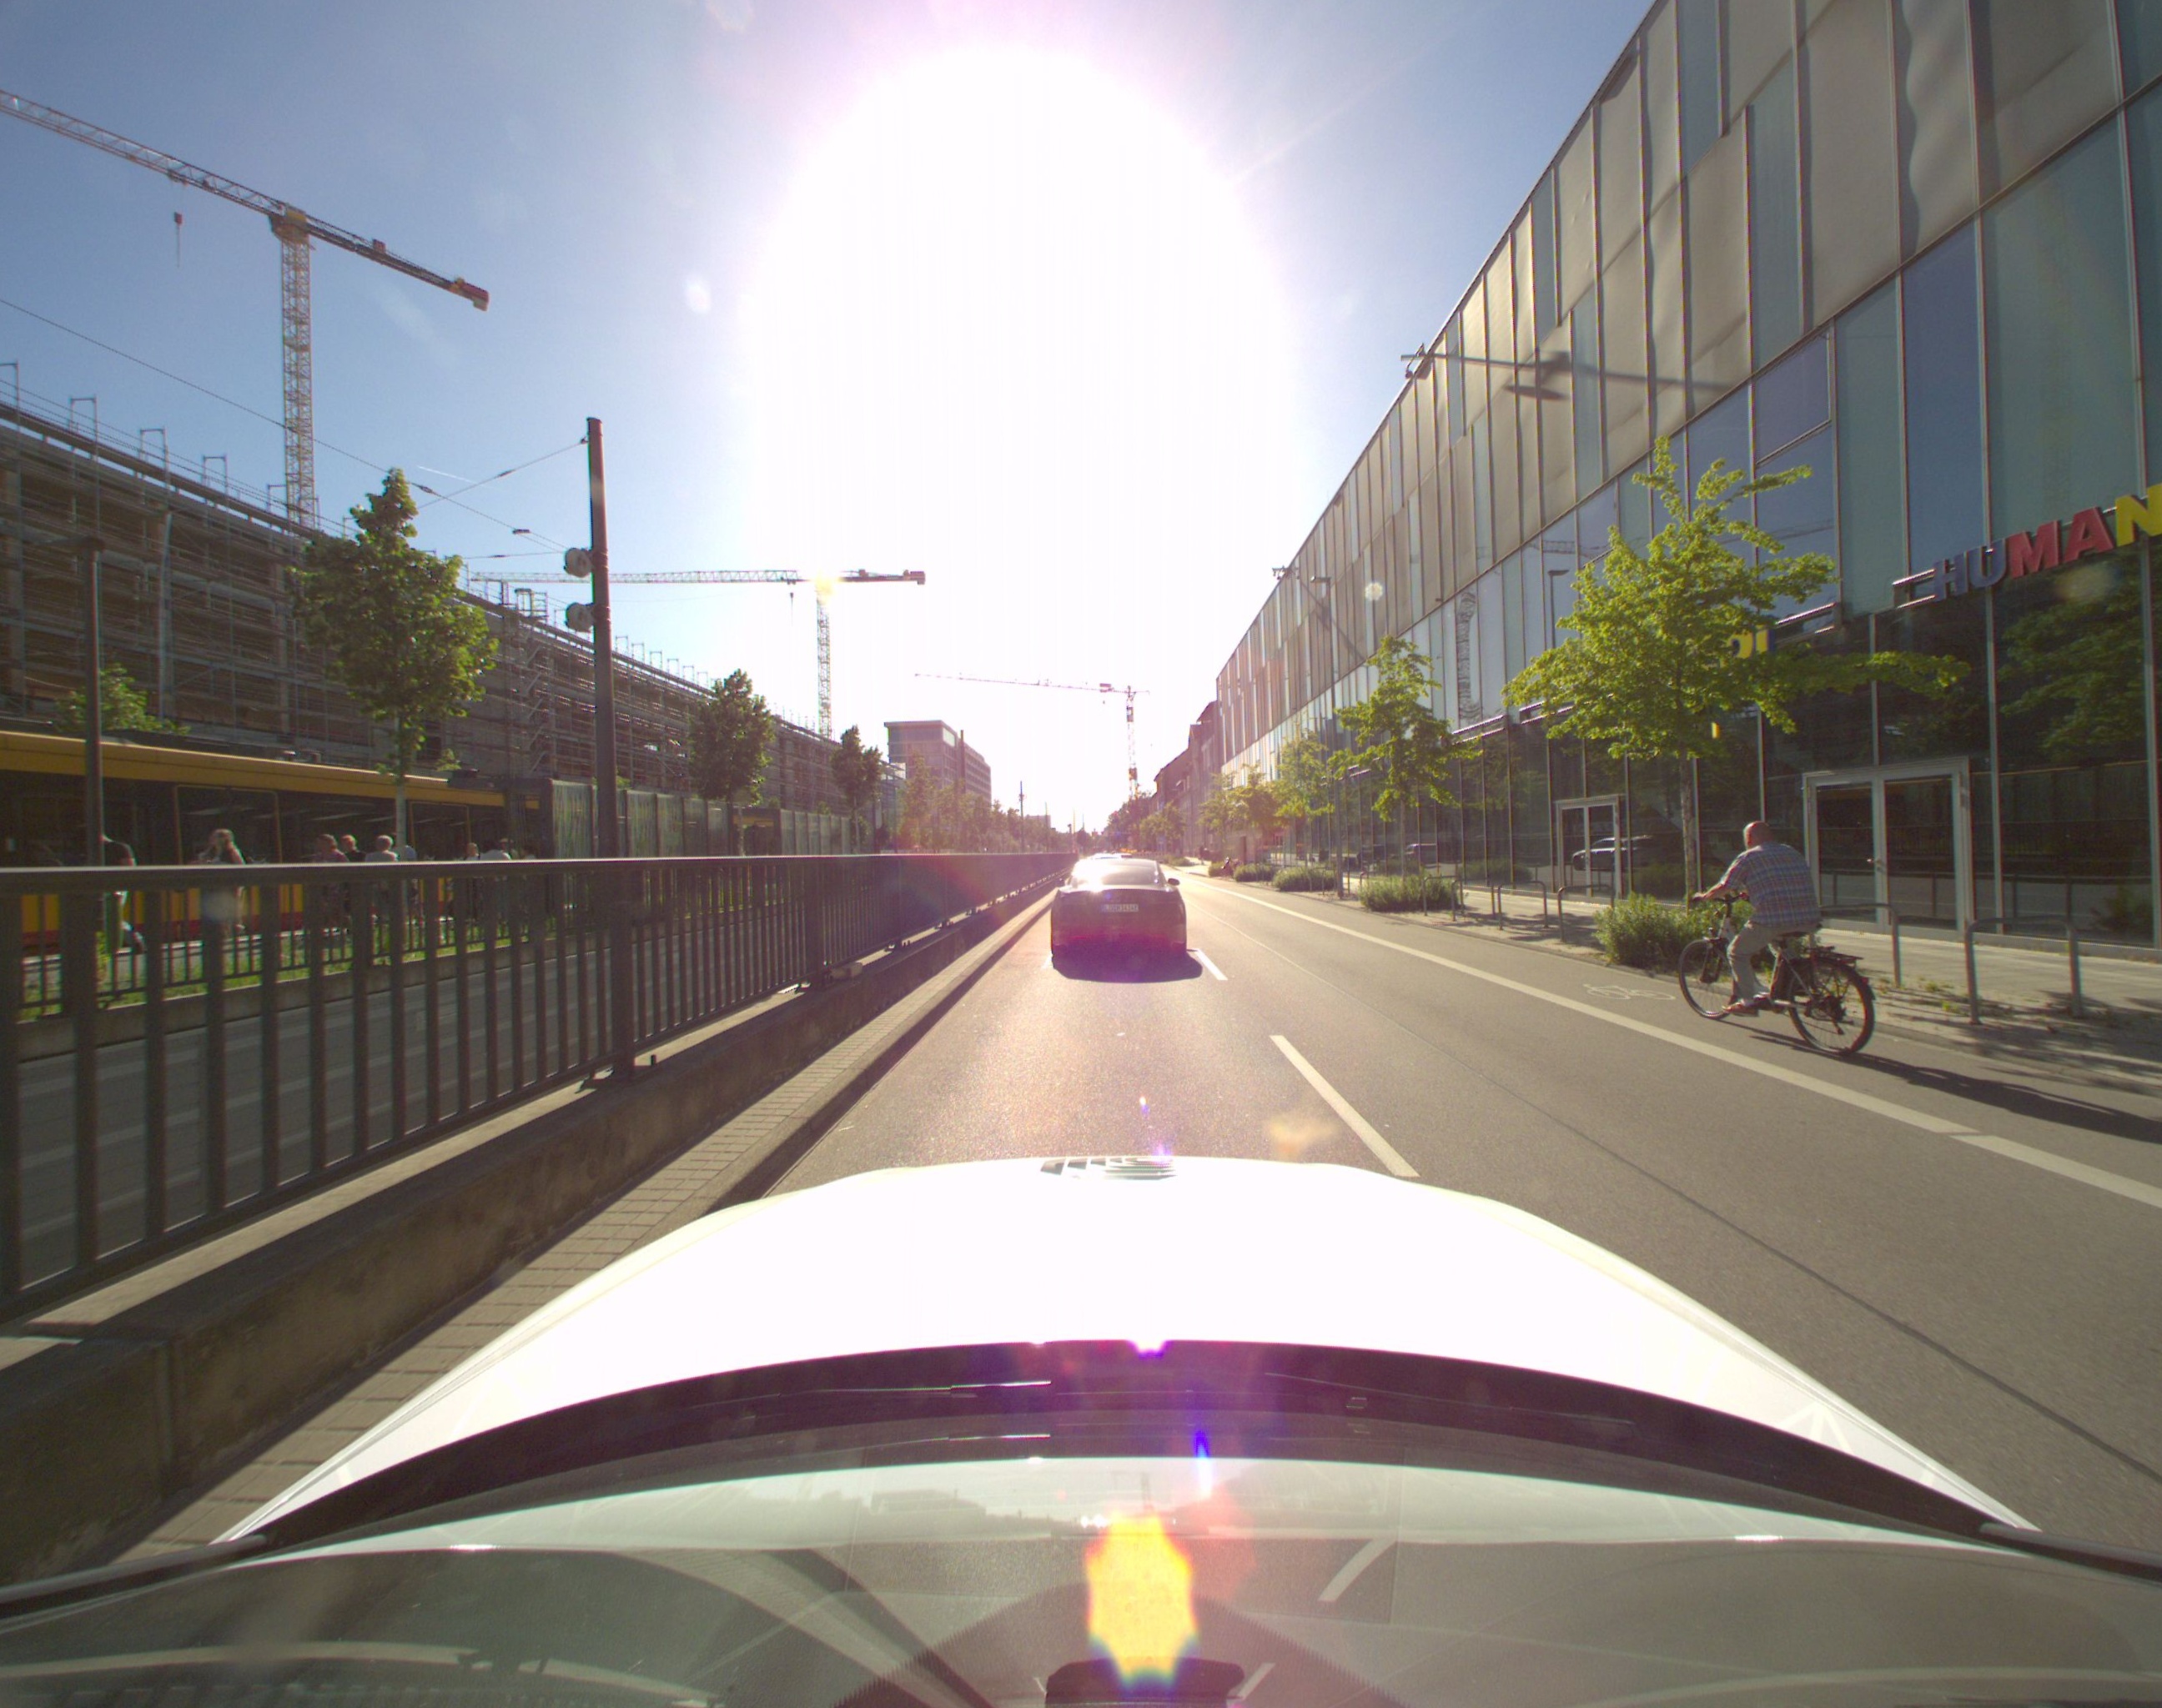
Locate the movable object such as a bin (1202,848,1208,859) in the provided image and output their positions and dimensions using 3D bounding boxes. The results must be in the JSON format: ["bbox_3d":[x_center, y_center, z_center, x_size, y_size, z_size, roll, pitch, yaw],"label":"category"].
[{"bbox_3d":[12.907,-0.067,84.773,0.556,1.169,0.563,0,0,5],"label":"movable object such as a bin"}]

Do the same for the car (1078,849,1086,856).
[{"bbox_3d":[0.210,-0.351,208.111,1.987,1.684,4.000,0,0,1],"label":"car"}]

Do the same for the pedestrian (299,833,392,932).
[{"bbox_3d":[-12.500,0.468,13.861,0.738,1.628,0.862,-2,0,3],"label":"pedestrian"}]

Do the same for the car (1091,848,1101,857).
[{"bbox_3d":[3.201,-0.332,171.487,1.806,1.809,4.042,-1,1,3],"label":"car"}]

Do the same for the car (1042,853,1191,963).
[{"bbox_3d":[0.666,0.739,13.241,1.990,1.434,4.419,-1,0,5],"label":"car"}]

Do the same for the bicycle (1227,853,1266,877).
[{"bbox_3d":[8.751,0.557,43.028,1.881,1.151,0.669,-3,0,-9],"label":"bicycle"}]

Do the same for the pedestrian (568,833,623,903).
[{"bbox_3d":[-11.680,0.327,19.615,0.738,1.628,0.862,-2,0,3],"label":"pedestrian"}]

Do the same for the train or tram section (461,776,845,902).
[{"bbox_3d":[-14.381,-0.479,32.317,2.859,3.279,22.153,0,0,2],"label":"train or tram section"}]

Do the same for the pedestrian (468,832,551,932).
[{"bbox_3d":[-9.653,0.458,13.780,0.738,1.628,0.862,-2,0,3],"label":"pedestrian"}]

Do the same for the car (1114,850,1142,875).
[{"bbox_3d":[3.191,0.539,54.787,1.777,1.546,4.042,-1,1,3],"label":"car"}]

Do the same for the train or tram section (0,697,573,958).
[{"bbox_3d":[-14.911,-0.361,13.641,2.859,3.279,15.192,0,0,2],"label":"train or tram section"}]

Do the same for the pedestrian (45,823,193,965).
[{"bbox_3d":[-11.686,0.464,9.927,0.738,1.628,0.862,-2,0,3],"label":"pedestrian"}]

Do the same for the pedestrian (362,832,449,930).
[{"bbox_3d":[-11.672,0.452,14.103,0.738,1.628,0.862,-2,0,3],"label":"pedestrian"}]

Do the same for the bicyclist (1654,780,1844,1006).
[{"bbox_3d":[5.562,0.298,6.852,0.723,1.736,0.997,-2,0,-2],"label":"bicyclist"}]

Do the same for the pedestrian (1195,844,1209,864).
[{"bbox_3d":[11.630,0.034,78.100,1.091,1.863,1.523,-2,0,0],"label":"pedestrian"}]

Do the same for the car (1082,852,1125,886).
[{"bbox_3d":[1.011,0.598,34.965,1.709,1.319,4.003,-1,1,3],"label":"car"}]

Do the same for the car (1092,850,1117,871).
[{"bbox_3d":[2.006,0.495,68.248,1.879,1.596,4.005,-2,1,5],"label":"car"}]

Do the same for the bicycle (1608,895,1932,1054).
[{"bbox_3d":[5.577,0.899,6.864,0.726,0.983,2.332,0,0,-2],"label":"bicycle"}]

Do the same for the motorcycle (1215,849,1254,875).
[{"bbox_3d":[8.981,0.463,47.666,2.054,1.353,0.656,-4,-1,24],"label":"motorcycle"}]

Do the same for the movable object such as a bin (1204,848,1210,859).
[{"bbox_3d":[12.961,-0.068,83.923,0.556,1.169,0.563,0,0,5],"label":"movable object such as a bin"}]

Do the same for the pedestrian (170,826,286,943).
[{"bbox_3d":[-12.507,0.431,11.969,0.738,1.628,0.862,-2,0,3],"label":"pedestrian"}]

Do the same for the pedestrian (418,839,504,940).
[{"bbox_3d":[-10.447,0.585,13.751,0.738,1.628,0.862,-2,0,3],"label":"pedestrian"}]

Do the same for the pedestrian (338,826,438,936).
[{"bbox_3d":[-10.650,0.402,12.543,0.738,1.628,0.862,-2,0,3],"label":"pedestrian"}]

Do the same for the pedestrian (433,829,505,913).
[{"bbox_3d":[-12.327,0.332,16.419,0.738,1.628,0.862,-2,0,3],"label":"pedestrian"}]

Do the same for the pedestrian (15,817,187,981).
[{"bbox_3d":[-10.334,0.452,8.624,0.738,1.628,0.862,-2,0,3],"label":"pedestrian"}]

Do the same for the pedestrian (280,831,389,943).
[{"bbox_3d":[-11.442,0.486,12.513,0.738,1.628,0.948,-2,0,3],"label":"pedestrian"}]

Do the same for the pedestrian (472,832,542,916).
[{"bbox_3d":[-11.546,0.389,16.411,0.738,1.628,0.862,-2,0,3],"label":"pedestrian"}]
